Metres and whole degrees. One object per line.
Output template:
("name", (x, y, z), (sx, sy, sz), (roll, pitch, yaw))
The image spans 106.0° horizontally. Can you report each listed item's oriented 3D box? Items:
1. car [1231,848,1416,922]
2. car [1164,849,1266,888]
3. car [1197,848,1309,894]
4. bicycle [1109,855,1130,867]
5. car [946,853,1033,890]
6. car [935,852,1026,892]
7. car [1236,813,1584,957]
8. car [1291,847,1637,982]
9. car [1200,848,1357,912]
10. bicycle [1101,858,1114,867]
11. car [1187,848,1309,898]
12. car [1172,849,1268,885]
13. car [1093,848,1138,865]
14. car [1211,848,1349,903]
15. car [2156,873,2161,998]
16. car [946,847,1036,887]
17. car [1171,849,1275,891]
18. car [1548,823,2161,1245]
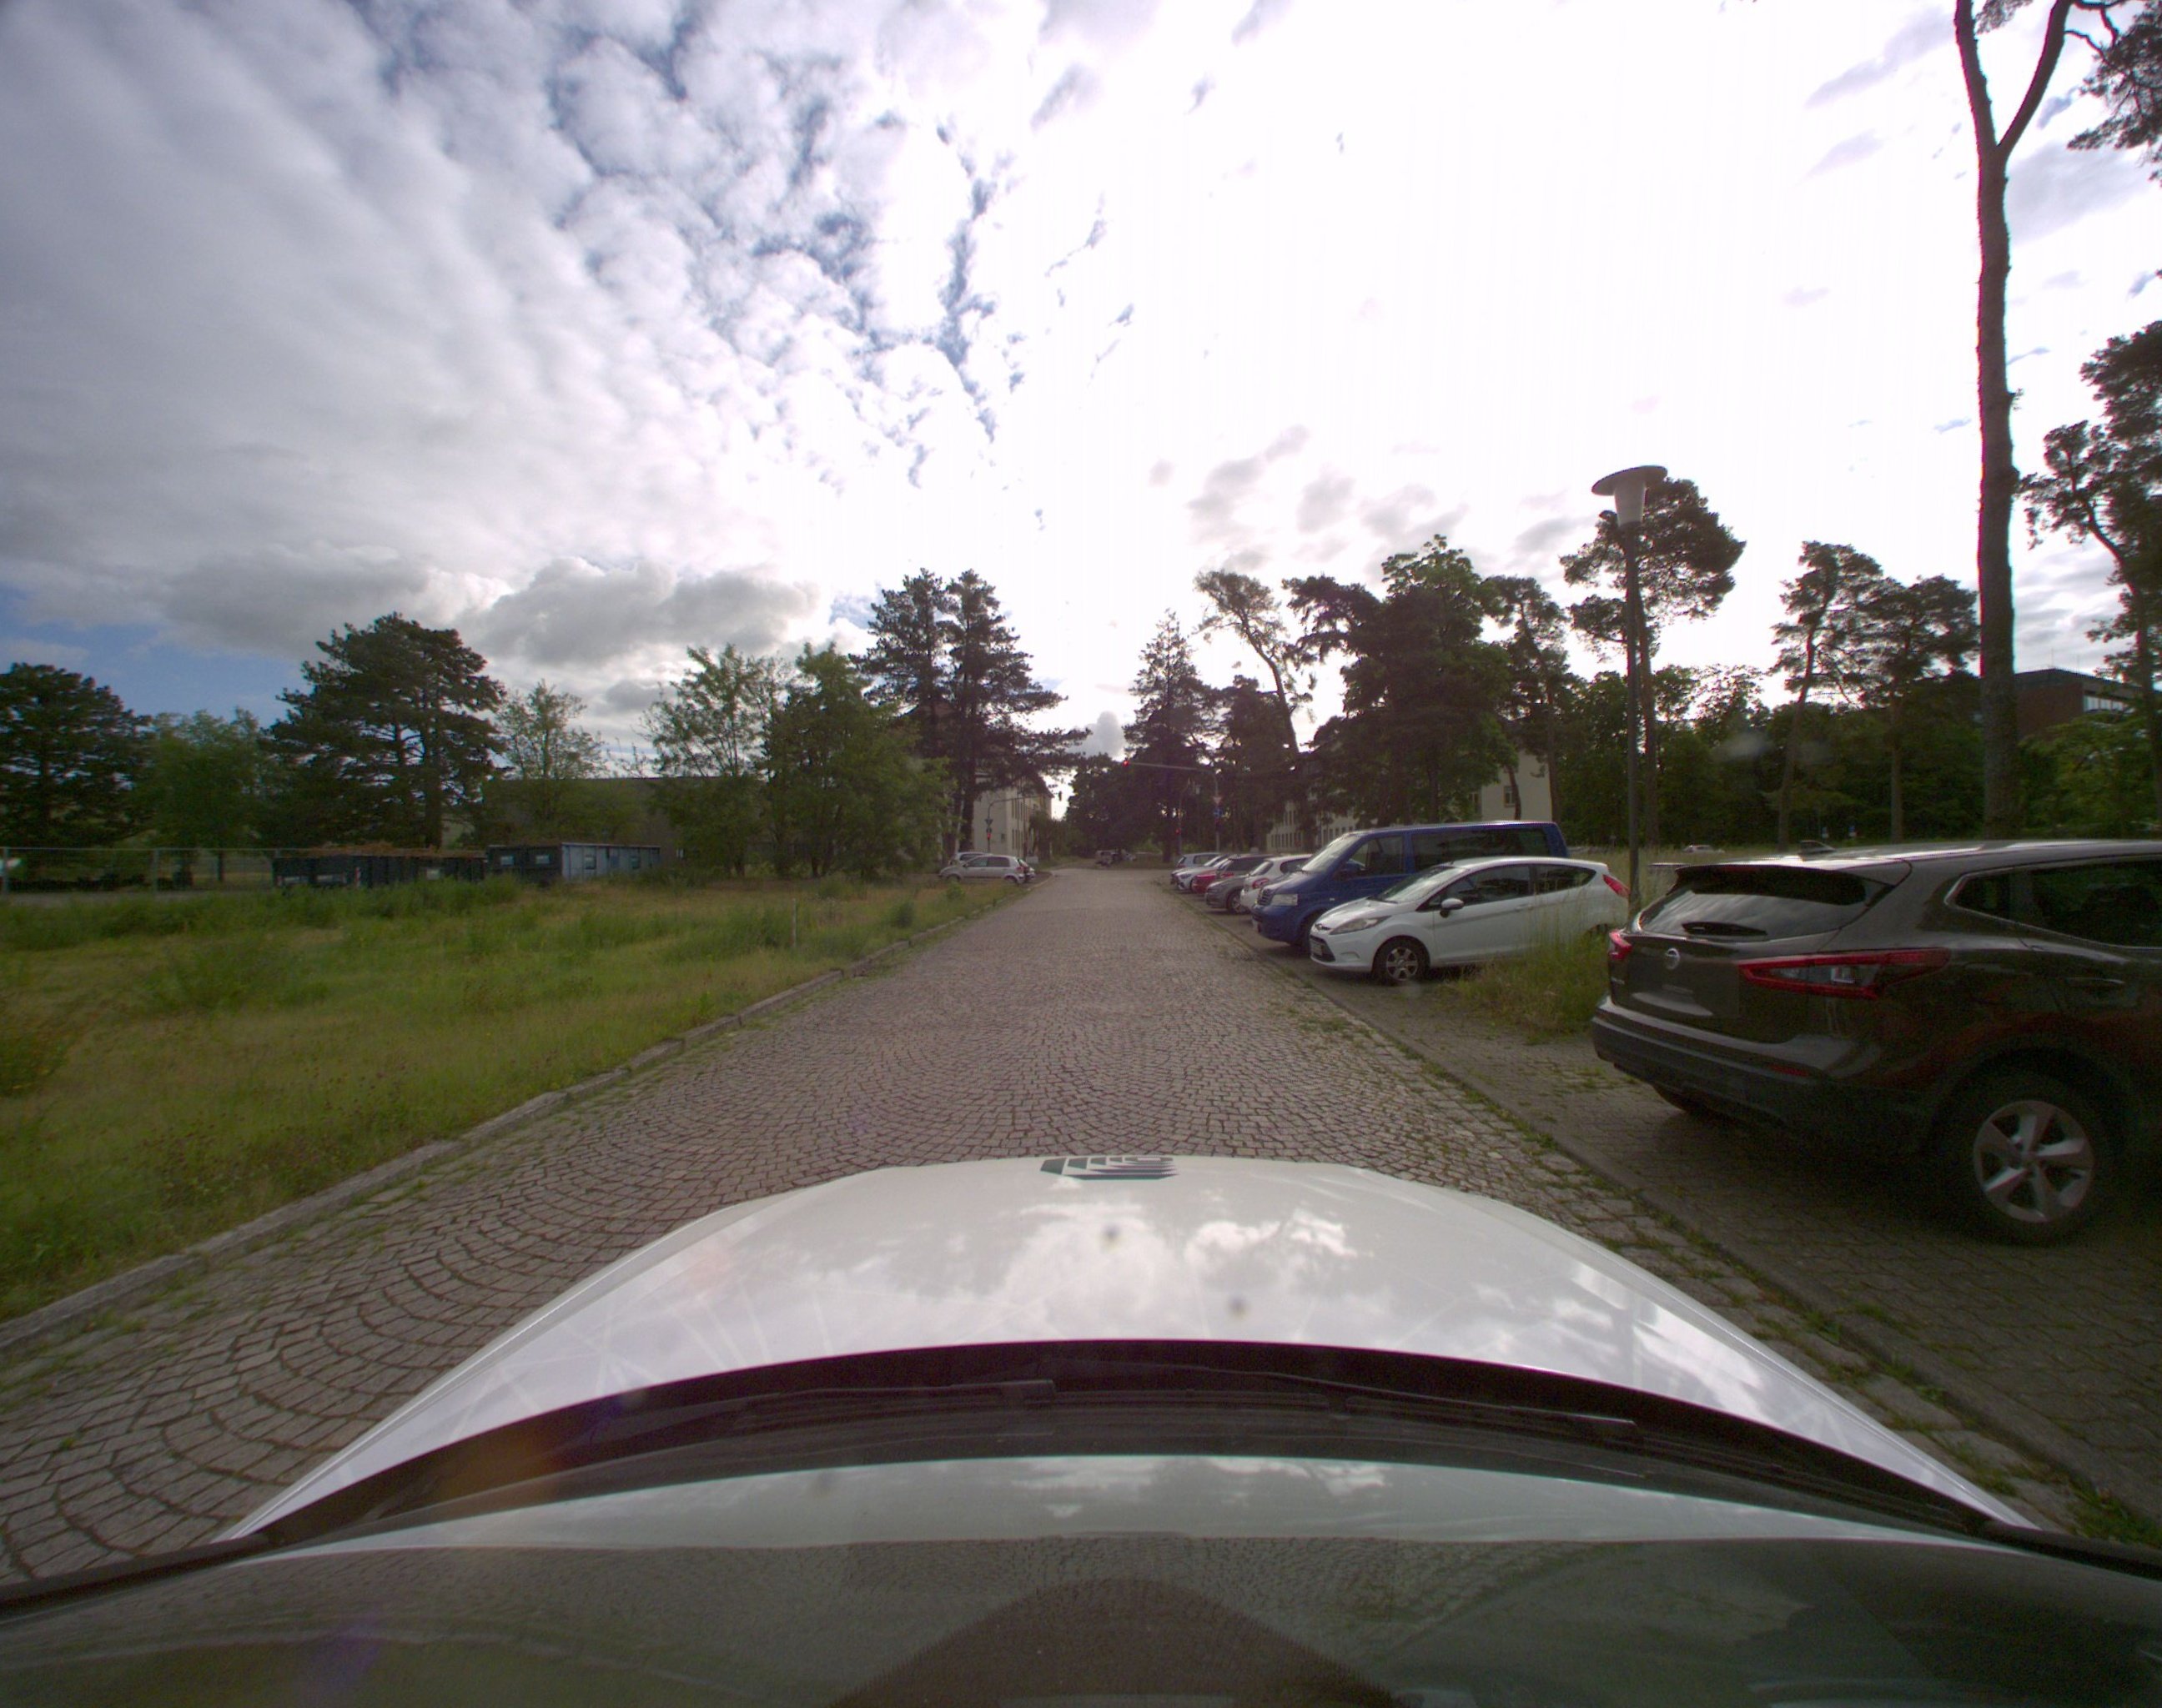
("car", (5.369, 0.675, 18.304), (3.660, 1.449, 1.523), (-2, 0, -1))
("car", (5.592, 0.601, 34.175), (3.959, 1.421, 1.618), (-2, 0, -3))
("car", (6.087, 0.592, 29.054), (3.660, 1.449, 1.523), (-2, 0, -1))
("bicycle", (4.084, 0.737, 85.812), (2.132, 1.215, 0.621), (0, 0, -3))
("car", (-4.267, 0.816, 38.371), (3.808, 1.572, 1.565), (-2, 0, 1))
("car", (-4.385, 0.781, 35.955), (3.811, 1.572, 1.563), (-2, 0, -2))
("car", (5.065, 0.457, 13.029), (4.739, 1.954, 1.931), (-2, 0, -1))
("car", (4.745, 0.716, 10.441), (3.661, 1.449, 1.614), (-2, 0, -1))
("car", (5.033, 0.646, 21.091), (3.660, 1.449, 1.523), (-2, 0, -1))
("bicycle", (2.657, 0.841, 81.769), (0.623, 0.945, 1.649), (0, 0, -26))
("car", (5.430, 0.599, 26.781), (3.660, 1.449, 1.523), (-2, 0, -1))
("car", (6.242, 0.571, 36.814), (3.959, 1.421, 1.618), (-2, 0, -3))
("car", (4.405, 0.306, 103.728), (5.441, 2.013, 2.263), (0, 0, -8))
("car", (5.824, 0.616, 24.066), (3.660, 1.449, 1.523), (-2, 0, -1))
("car", (4.967, 0.711, 1.421), (3.778, 1.460, 1.752), (-2, 0, 1))
("car", (-4.525, 0.657, 41.366), (4.247, 1.840, 1.744), (-2, 0, 1))
("car", (5.417, 0.600, 31.321), (3.663, 1.421, 1.522), (-2, 0, -3))
("car", (4.847, 0.652, 4.058), (4.017, 1.552, 1.750), (-2, 0, -1))
